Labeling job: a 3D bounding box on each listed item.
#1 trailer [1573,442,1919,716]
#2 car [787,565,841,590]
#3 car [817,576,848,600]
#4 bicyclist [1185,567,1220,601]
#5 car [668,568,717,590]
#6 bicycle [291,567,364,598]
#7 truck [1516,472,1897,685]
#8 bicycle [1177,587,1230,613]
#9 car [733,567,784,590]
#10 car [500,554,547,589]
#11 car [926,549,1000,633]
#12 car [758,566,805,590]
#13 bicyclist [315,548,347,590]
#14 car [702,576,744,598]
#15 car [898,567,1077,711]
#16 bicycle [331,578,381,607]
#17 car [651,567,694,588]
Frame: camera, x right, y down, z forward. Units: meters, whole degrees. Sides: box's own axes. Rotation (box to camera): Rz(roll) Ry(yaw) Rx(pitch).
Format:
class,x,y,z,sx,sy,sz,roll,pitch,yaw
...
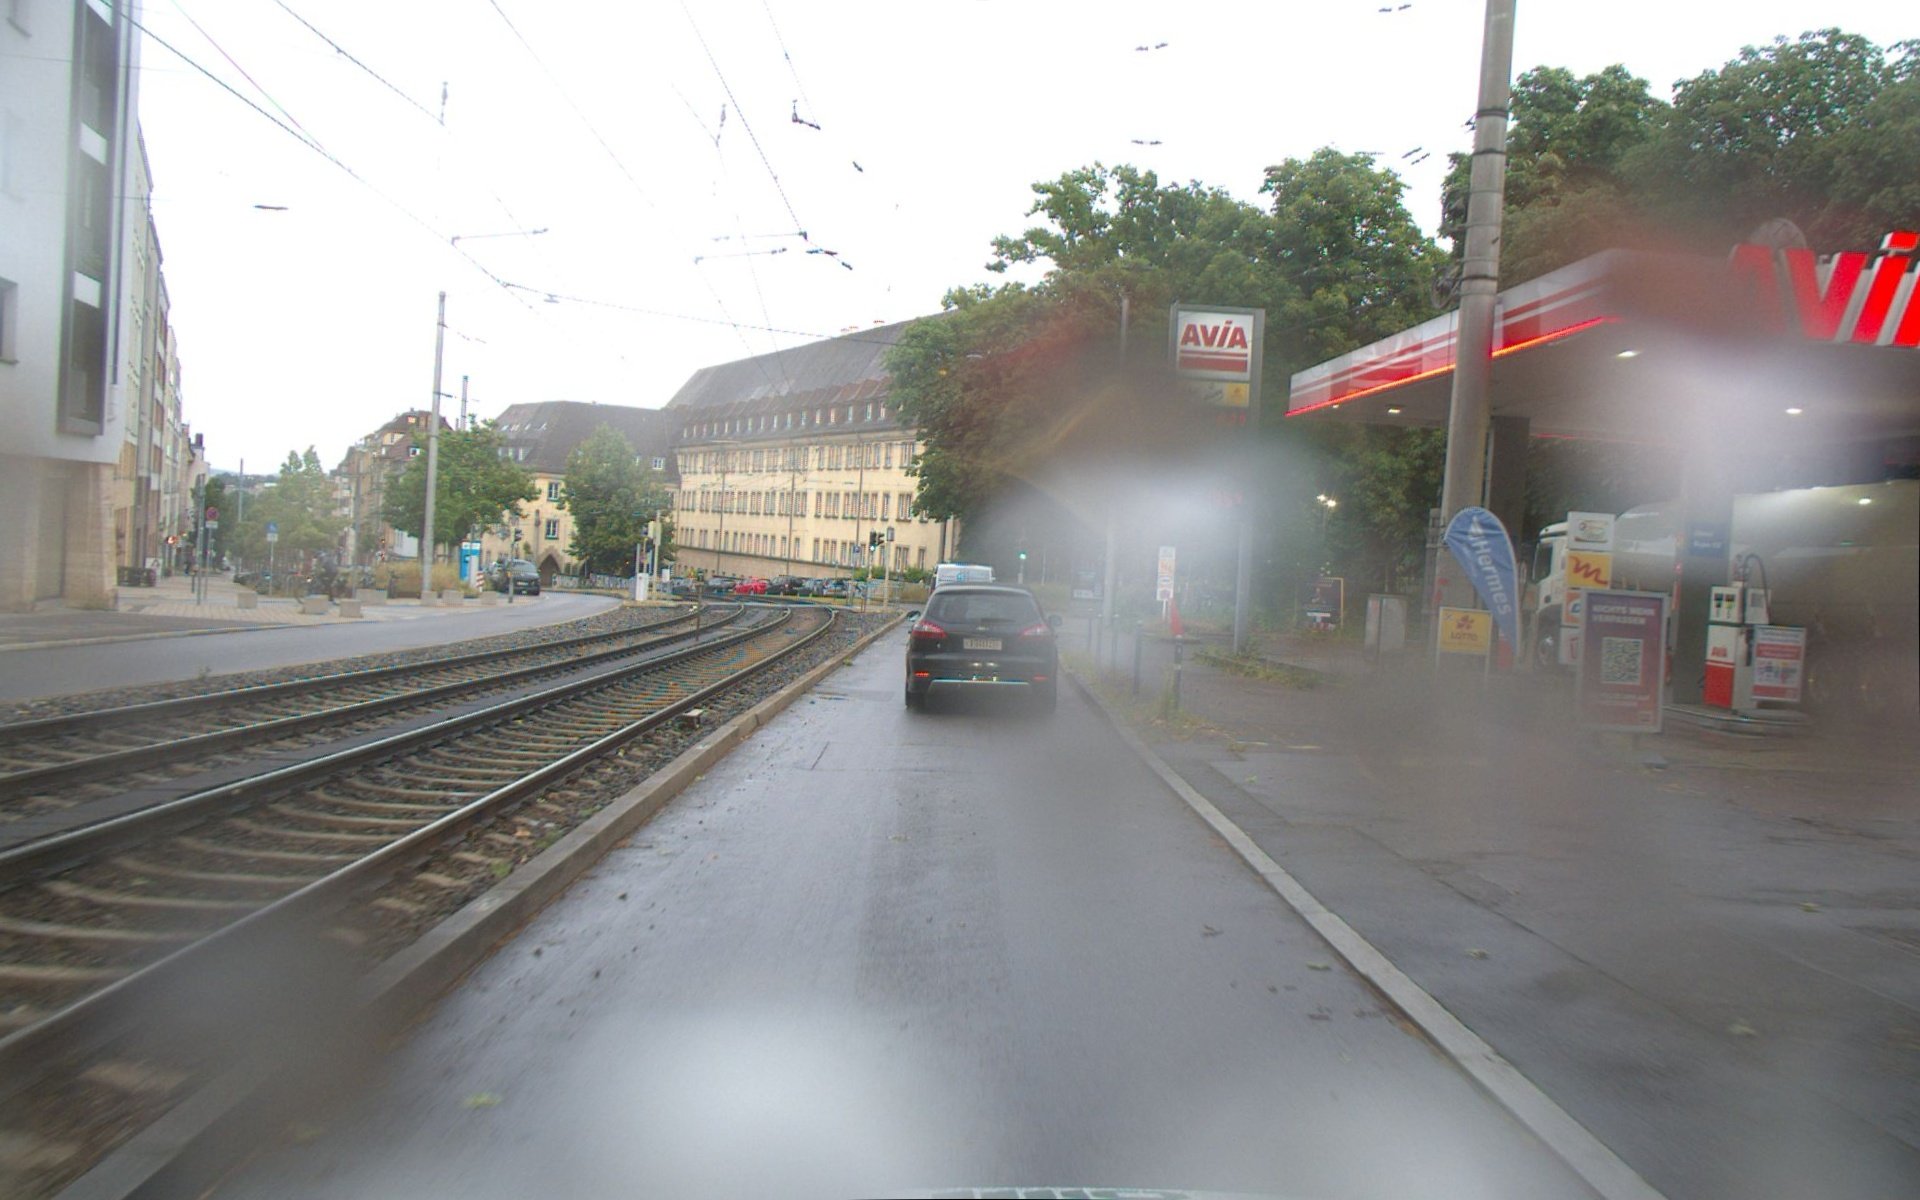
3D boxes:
class,x,y,z,sx,sy,sz,roll,pitch,yaw
trailer,14.210,-0.335,26.723,3.819,3.567,11.782,1,1,-2
car,-10.116,-1.575,114.455,1.978,1.569,3.949,3,0,-37
car,-8.557,-0.840,110.832,1.627,1.502,3.634,3,0,-11
bicyclist,8.786,-0.571,59.980,0.730,1.200,1.063,1,1,-36
car,-21.229,-1.646,131.329,1.984,1.569,3.937,3,0,-43
bicycle,-20.594,-0.575,53.894,2.085,0.959,0.804,0,1,-40
truck,14.004,-0.410,31.883,3.825,3.578,6.975,1,1,-4
bicycle,8.836,0.004,60.075,0.730,0.884,1.972,1,1,-35
car,-15.092,-1.612,123.567,1.980,1.569,3.946,3,0,-38
car,-21.465,-1.397,81.479,1.958,1.569,3.988,3,0,-12
car,0.049,-0.239,44.362,1.706,2.049,3.902,3,0,-3
car,-12.895,-1.614,119.187,1.568,1.569,3.949,3,0,-36
bicyclist,-20.524,-1.017,53.955,0.767,1.336,0.780,1,1,-40
car,-18.364,-1.040,128.089,1.972,1.569,3.961,1,1,-29
car,0.346,0.432,20.467,1.894,1.478,4.318,4,0,1
bicycle,-24.437,-0.289,66.914,1.778,1.079,0.570,3,0,-5
car,-23.570,-1.814,135.409,1.977,1.569,3.951,3,0,-35
